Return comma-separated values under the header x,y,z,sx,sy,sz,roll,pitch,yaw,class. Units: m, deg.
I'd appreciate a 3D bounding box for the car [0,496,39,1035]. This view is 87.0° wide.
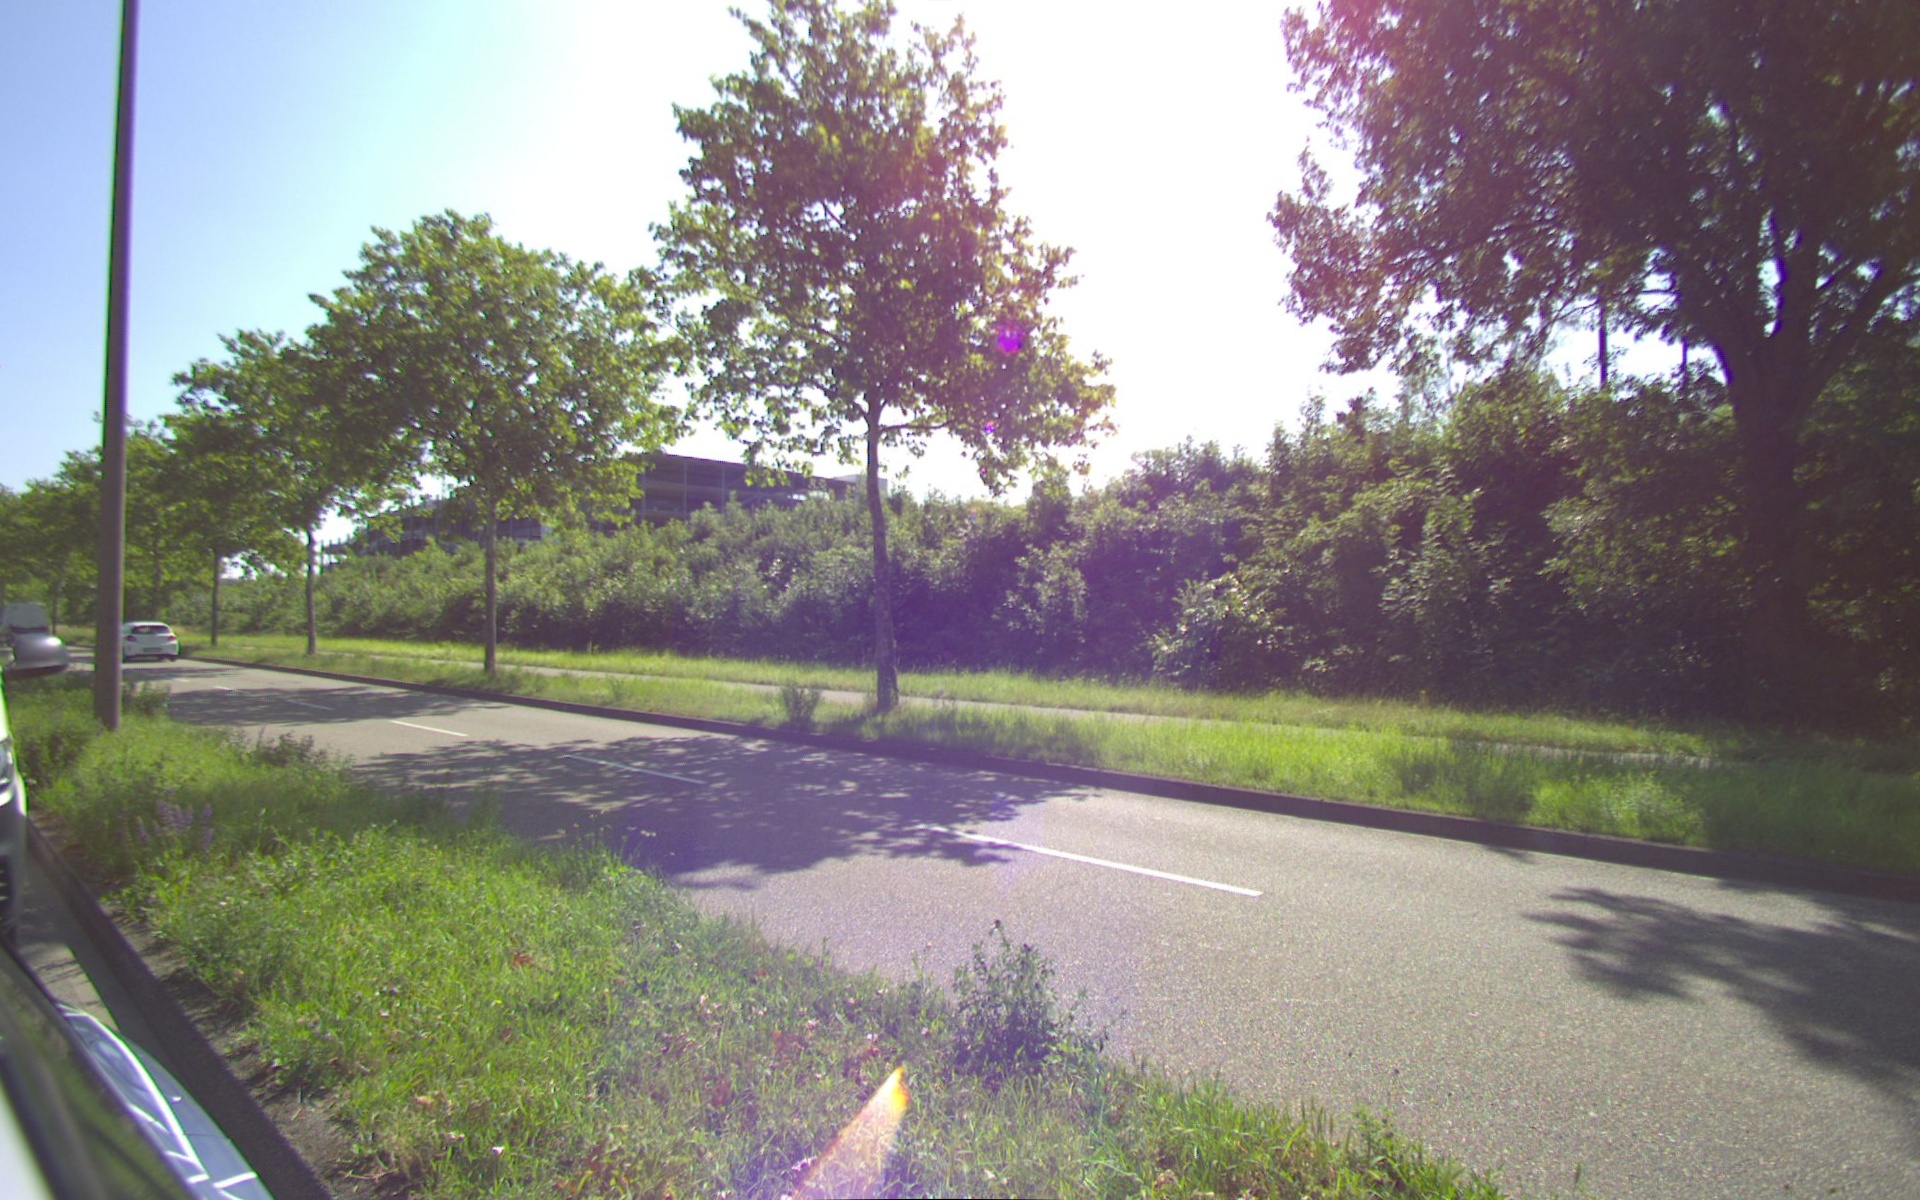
x,y,z,sx,sy,sz,roll,pitch,yaw,class
-5.792,0.600,4.569,4.879,1.915,1.848,-1,-2,41,car

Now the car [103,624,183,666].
x,y,z,sx,sy,sz,roll,pitch,yaw,class
-31.174,1.687,38.588,3.998,1.519,1.682,-2,-3,41,car

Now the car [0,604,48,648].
x,y,z,sx,sy,sz,roll,pitch,yaw,class
-59.908,1.684,64.415,5.784,2.683,1.972,-1,-3,41,car
